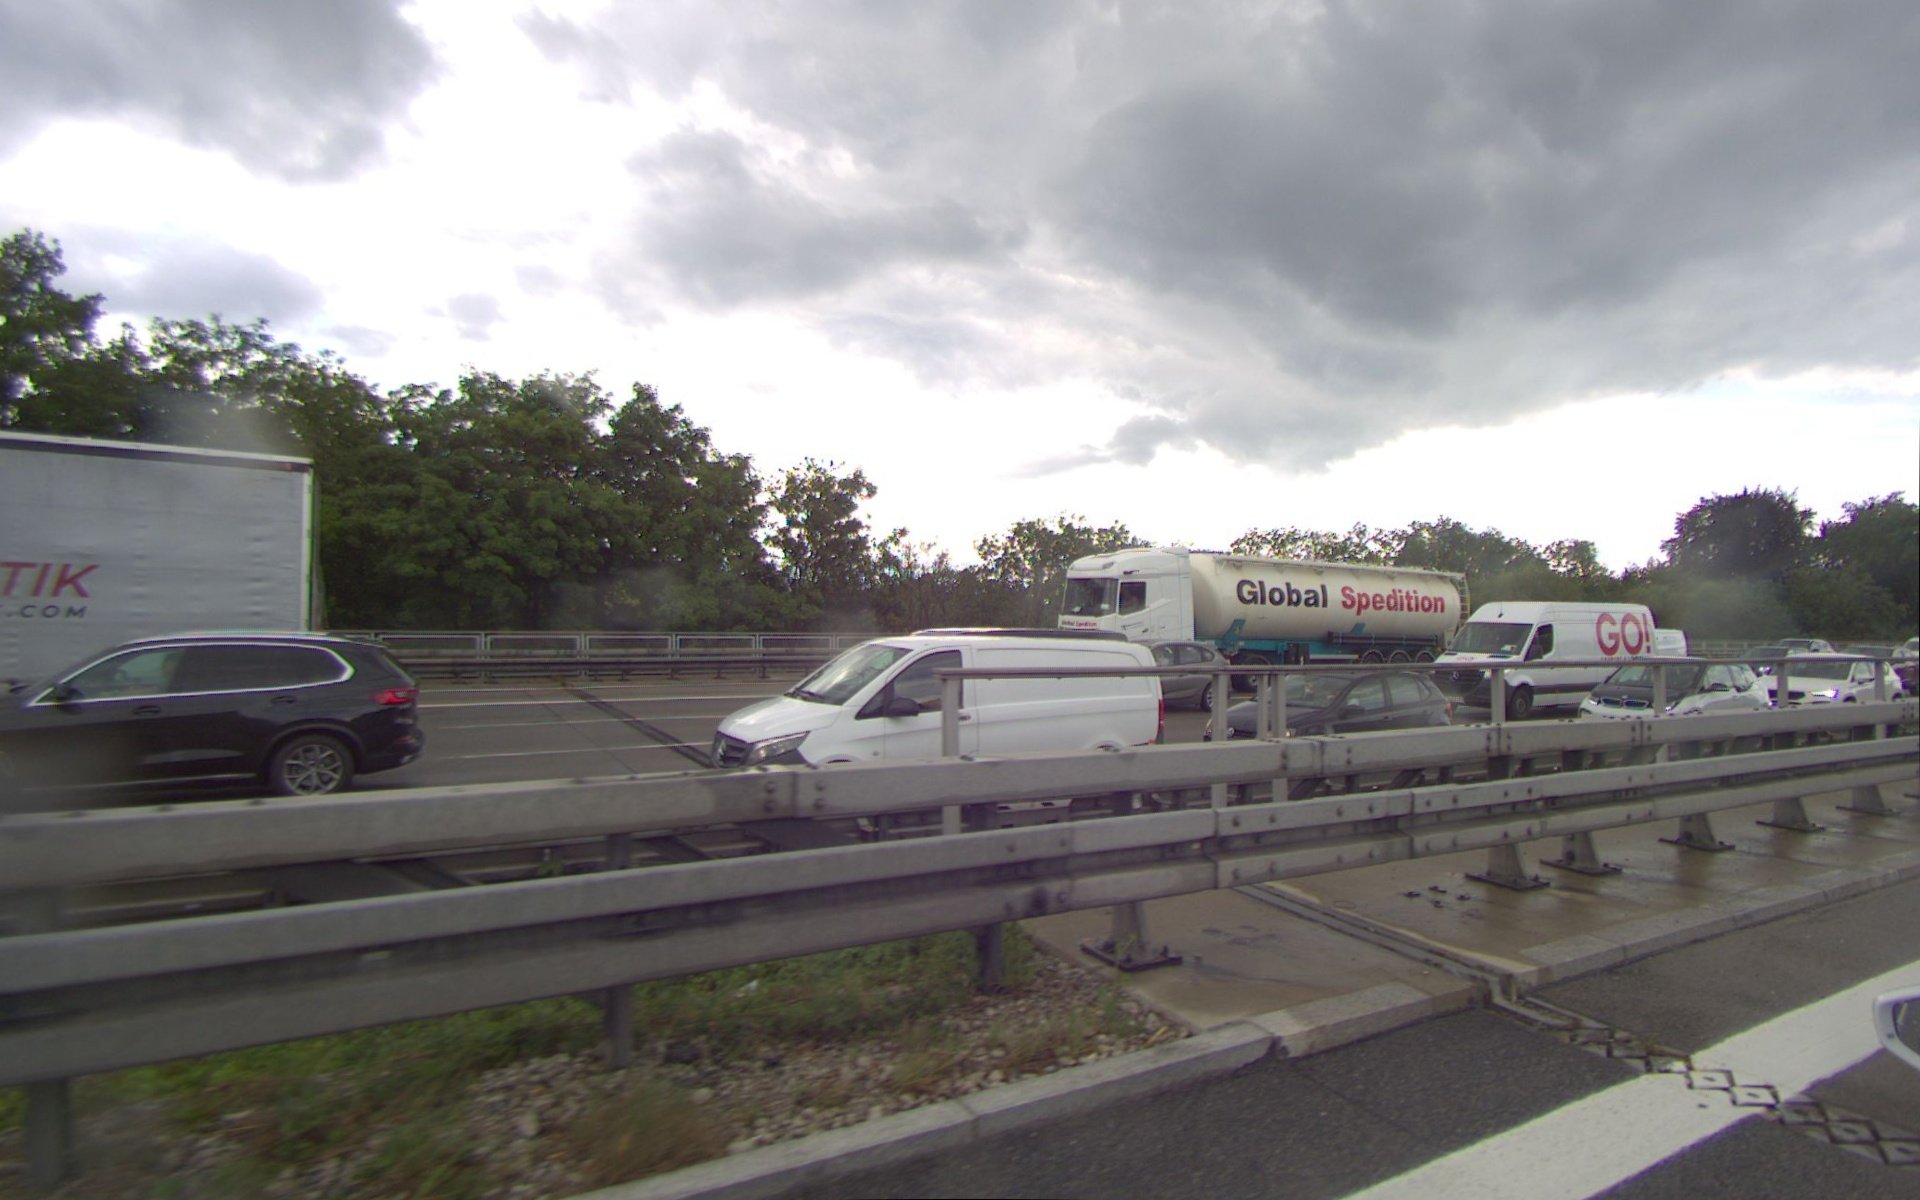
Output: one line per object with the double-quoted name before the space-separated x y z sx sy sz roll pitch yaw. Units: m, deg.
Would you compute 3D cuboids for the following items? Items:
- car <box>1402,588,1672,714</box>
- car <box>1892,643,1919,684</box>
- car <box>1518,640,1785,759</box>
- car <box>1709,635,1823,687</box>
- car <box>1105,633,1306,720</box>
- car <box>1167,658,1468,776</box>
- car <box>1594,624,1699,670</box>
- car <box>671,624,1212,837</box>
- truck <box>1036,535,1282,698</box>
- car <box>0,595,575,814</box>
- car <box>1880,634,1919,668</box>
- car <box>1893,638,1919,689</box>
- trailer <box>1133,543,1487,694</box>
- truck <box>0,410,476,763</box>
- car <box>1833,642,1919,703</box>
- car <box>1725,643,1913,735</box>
"car" 13.961 1.176 24.087 7.517 2.671 2.118 1 -1 -29
"car" 45.600 2.951 46.886 4.542 1.824 1.885 1 -1 -30
"car" 12.492 1.659 18.028 5.507 1.824 1.884 1 -1 -31
"car" 30.464 2.268 37.945 4.542 1.824 1.885 1 -1 -30
"car" 5.735 1.699 23.298 4.544 1.824 1.884 1 -1 -31
"car" 4.952 1.490 13.728 4.203 1.314 1.613 1 -1 -31
"car" 28.584 1.927 41.782 4.542 1.824 1.885 1 -1 -30
"car" -0.010 1.206 10.993 5.775 1.824 1.884 1 -1 -31
"truck" 5.657 0.507 28.323 6.455 4.105 3.010 1 -1 -30
"car" -7.321 1.007 11.059 5.522 1.988 1.885 1 -1 -30
"car" 53.007 2.790 55.540 4.542 1.824 1.885 1 -1 -30
"car" 36.703 2.329 37.253 4.542 1.824 1.885 1 -1 -30
"trailer" 11.447 0.661 31.758 12.988 4.085 2.993 1 -1 -31
"truck" -12.915 -0.161 12.564 12.153 4.167 2.784 1 -1 -31
"car" 30.419 2.295 32.537 4.542 1.824 1.885 1 -1 -30
"car" 19.137 1.892 22.341 4.544 1.824 1.884 1 -1 -31
